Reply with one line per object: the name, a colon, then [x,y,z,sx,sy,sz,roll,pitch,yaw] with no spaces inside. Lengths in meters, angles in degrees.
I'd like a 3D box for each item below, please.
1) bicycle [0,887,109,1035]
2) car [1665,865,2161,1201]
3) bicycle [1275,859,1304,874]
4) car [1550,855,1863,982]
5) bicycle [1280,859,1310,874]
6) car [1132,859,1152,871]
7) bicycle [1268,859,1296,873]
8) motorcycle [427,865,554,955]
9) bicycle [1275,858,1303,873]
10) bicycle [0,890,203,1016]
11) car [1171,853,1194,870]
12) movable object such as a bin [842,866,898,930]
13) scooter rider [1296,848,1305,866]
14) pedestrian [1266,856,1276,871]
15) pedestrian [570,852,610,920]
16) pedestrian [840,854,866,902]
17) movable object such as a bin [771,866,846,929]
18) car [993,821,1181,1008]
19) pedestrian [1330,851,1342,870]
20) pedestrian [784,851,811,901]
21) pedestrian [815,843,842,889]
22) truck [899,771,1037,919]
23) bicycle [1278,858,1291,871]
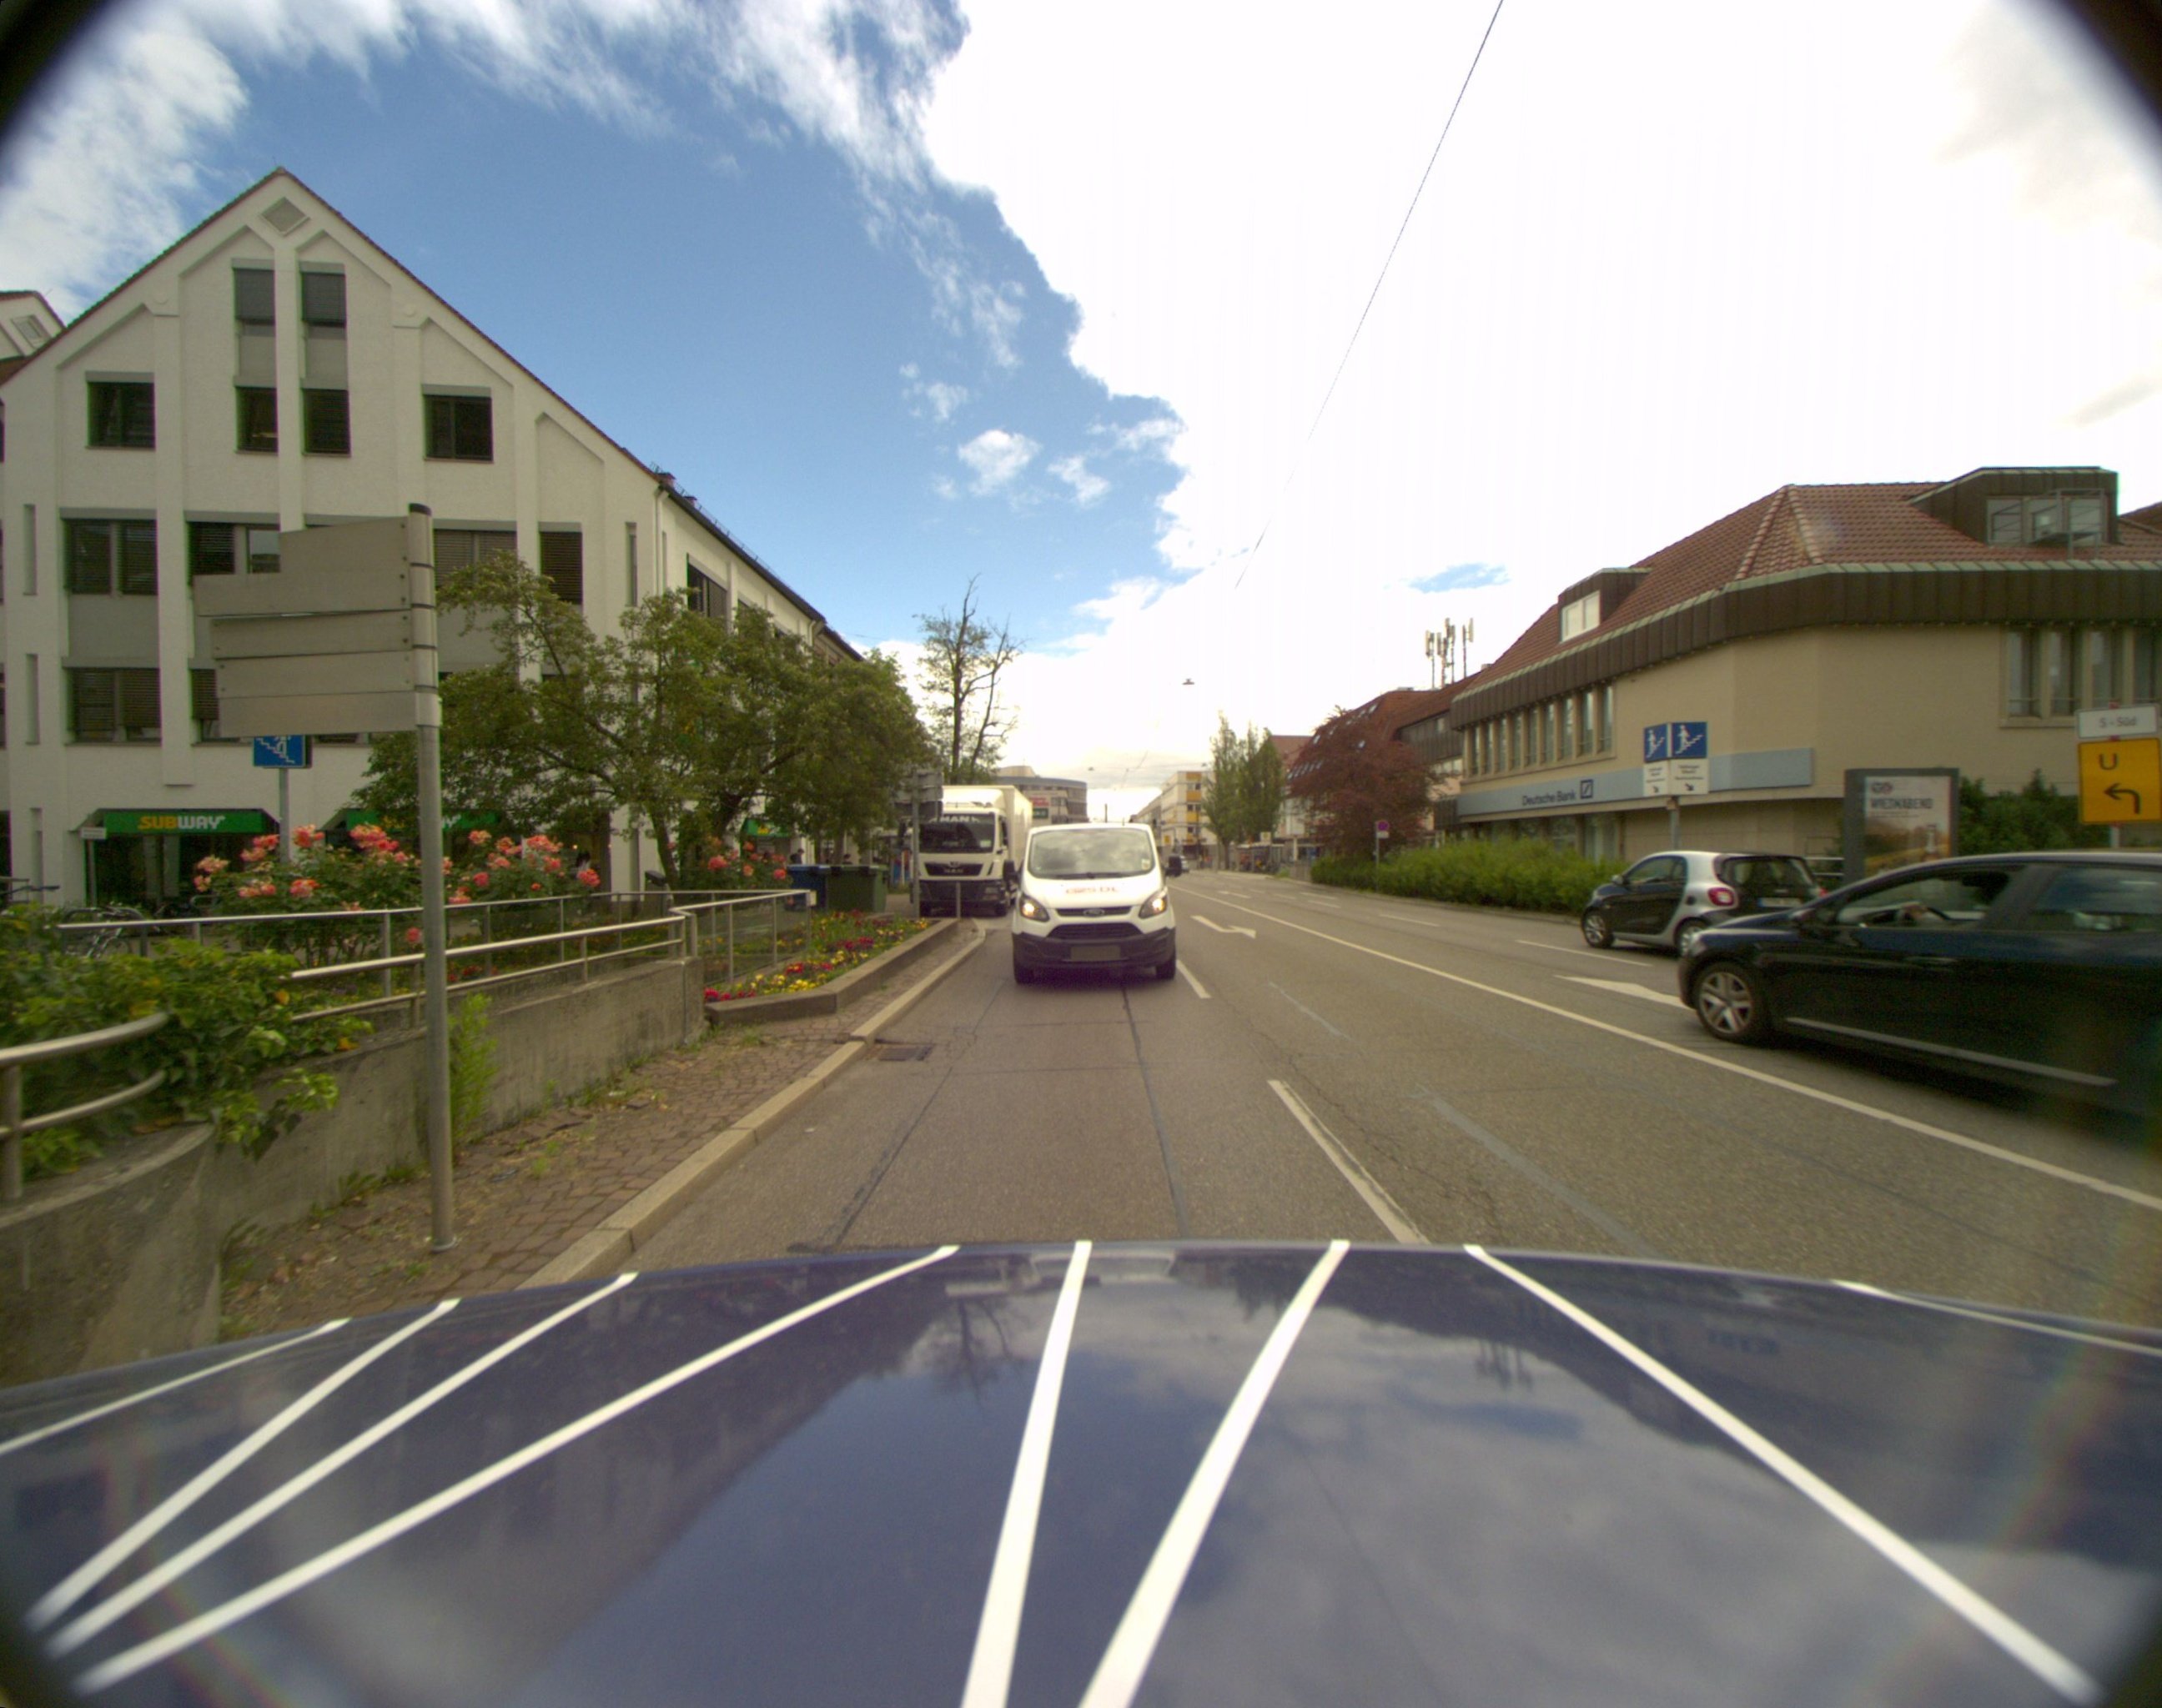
bicycle: [-10.786,0.998,7.251,1.821,1.319,0.843,-1,0,-3]
car: [5.506,0.801,4.142,1.621,1.420,3.922,0,0,0]
bicycle: [15.531,0.921,56.569,2.024,1.084,0.648,-1,0,-9]
car: [8.656,0.790,10.961,1.621,1.514,3.507,1,0,0]
bicycle: [15.708,0.889,55.873,2.024,1.084,0.648,-1,0,-9]
car: [8.092,1.428,101.129,1.571,1.531,2.966,1,-1,27]
bicycle: [15.573,0.927,58.831,2.024,1.084,0.649,-1,0,-4]
motorcycle: [-10.261,0.919,13.302,0.722,1.430,1.945,-1,0,-2]
bicycle: [15.809,0.891,57.775,2.024,1.084,0.648,-1,0,-9]
bicycle: [-10.689,1.032,8.147,1.679,1.251,0.669,-1,0,-3]
car: [9.448,0.686,71.172,1.644,1.559,3.926,2,0,0]
movable object such as a bin: [-4.638,0.949,16.770,0.883,1.331,1.085,0,0,2]
scooter rider: [21.988,0.286,76.183,0.614,1.702,0.588,-3,0,-3]
pedestrian: [16.525,0.822,65.964,0.713,1.356,0.588,-1,0,2]
pedestrian: [-11.673,0.751,18.064,0.619,1.593,0.514,0,1,18]
pedestrian: [-7.636,0.793,25.449,0.747,1.593,0.573,-1,1,-28]
movable object such as a bin: [-6.062,0.946,16.992,1.146,1.331,1.376,0,0,2]
car: [0.212,0.669,10.741,1.998,2.002,5.000,-1,0,3]
pedestrian: [21.028,0.568,62.598,0.713,1.538,0.588,-1,0,-1]
pedestrian: [-9.228,0.709,24.778,0.574,1.593,0.746,0,0,1]
pedestrian: [-8.827,0.416,26.541,0.745,1.593,0.574,0,1,-2]
truck: [-3.001,-0.214,23.238,2.695,3.540,9.766,-1,0,0]
bicycle: [17.345,0.867,64.790,0.535,1.084,1.930,-1,0,-2]
